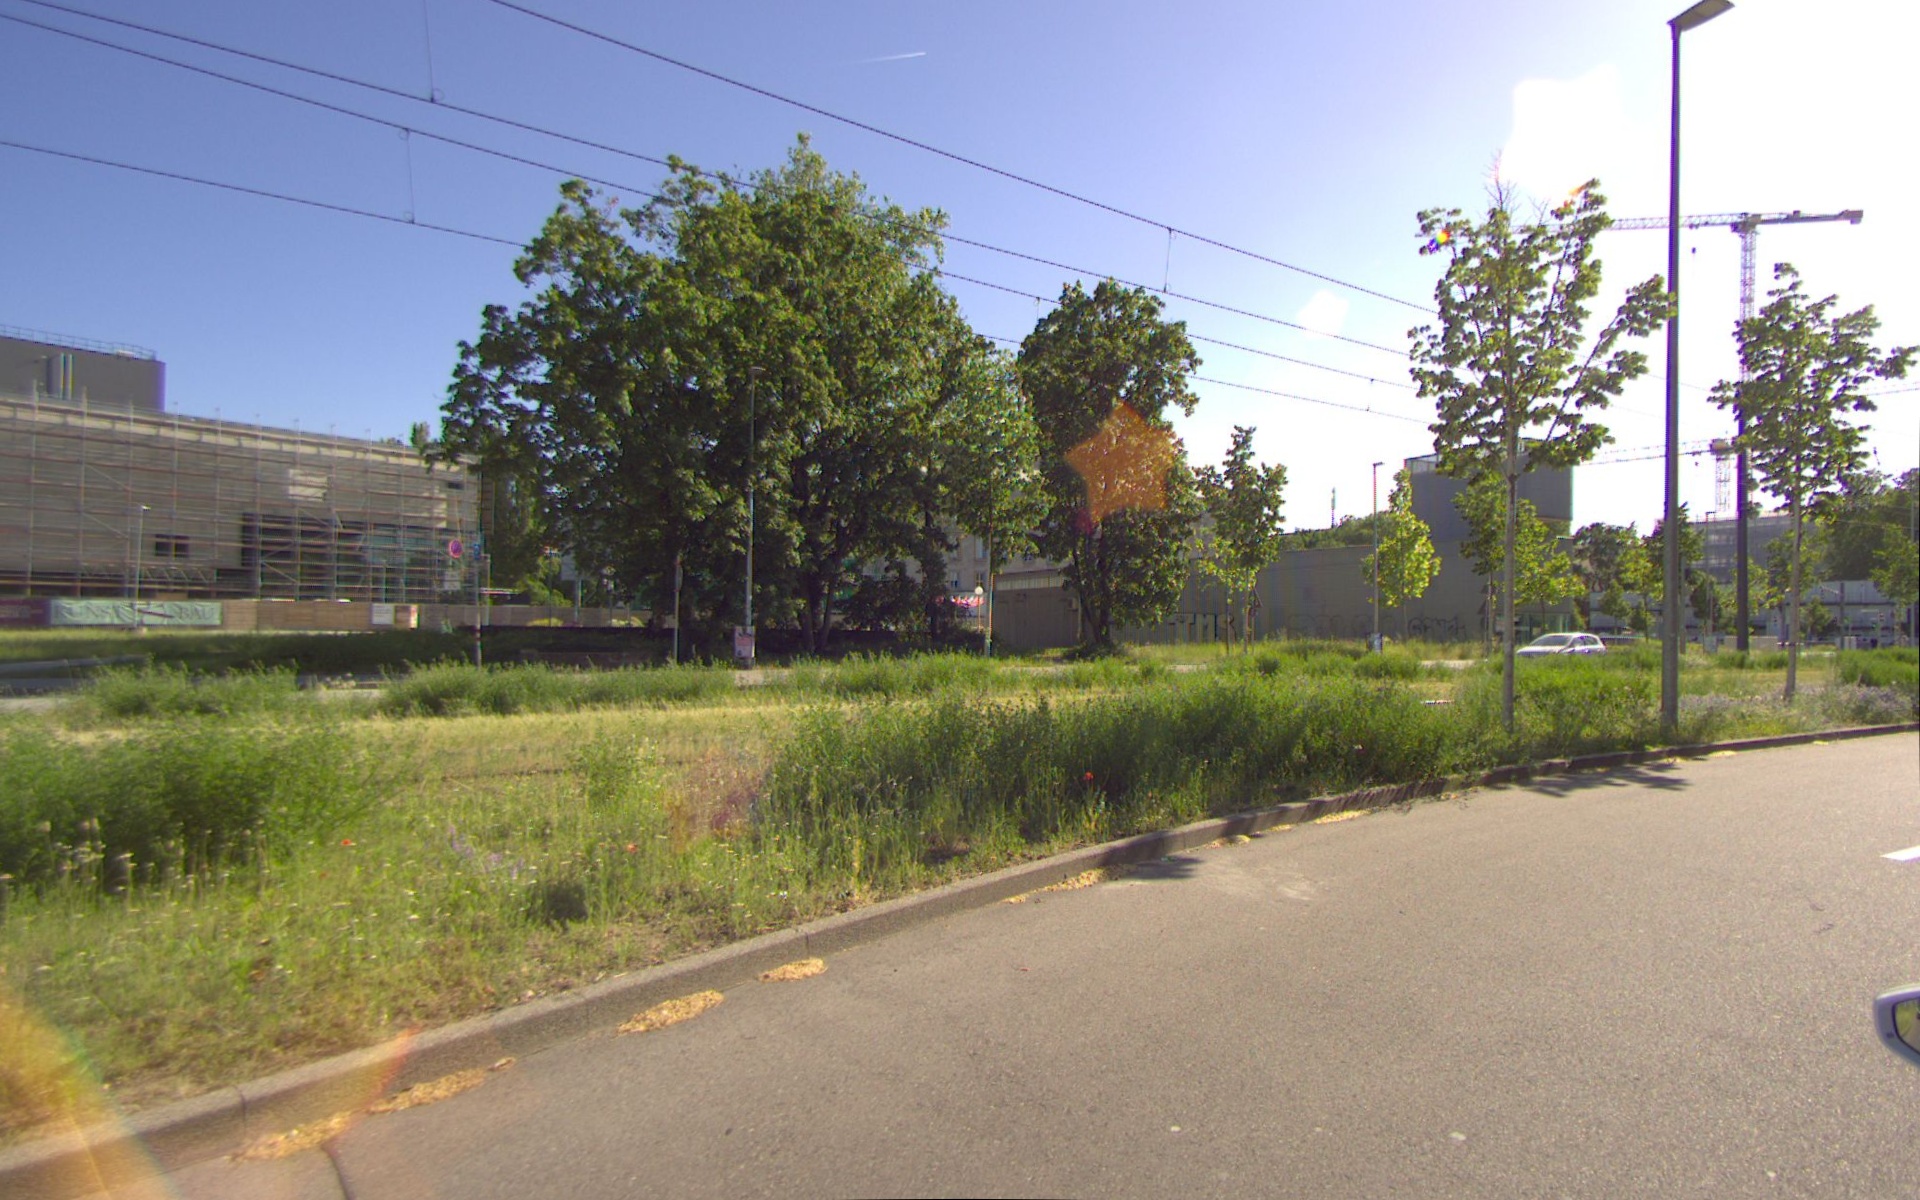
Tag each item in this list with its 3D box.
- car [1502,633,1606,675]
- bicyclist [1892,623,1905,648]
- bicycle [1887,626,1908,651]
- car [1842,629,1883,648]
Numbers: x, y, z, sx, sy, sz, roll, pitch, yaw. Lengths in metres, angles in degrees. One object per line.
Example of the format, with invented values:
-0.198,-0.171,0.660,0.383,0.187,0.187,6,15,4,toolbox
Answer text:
21.405,1.915,36.167,3.789,1.416,1.625,1,-1,-31,car
56.956,2.164,60.977,0.533,1.474,0.392,1,1,-30,bicyclist
56.900,2.327,60.959,1.890,1.474,0.359,1,-1,-29,bicycle
87.739,3.743,97.667,3.951,1.577,1.703,3,0,-29,car
